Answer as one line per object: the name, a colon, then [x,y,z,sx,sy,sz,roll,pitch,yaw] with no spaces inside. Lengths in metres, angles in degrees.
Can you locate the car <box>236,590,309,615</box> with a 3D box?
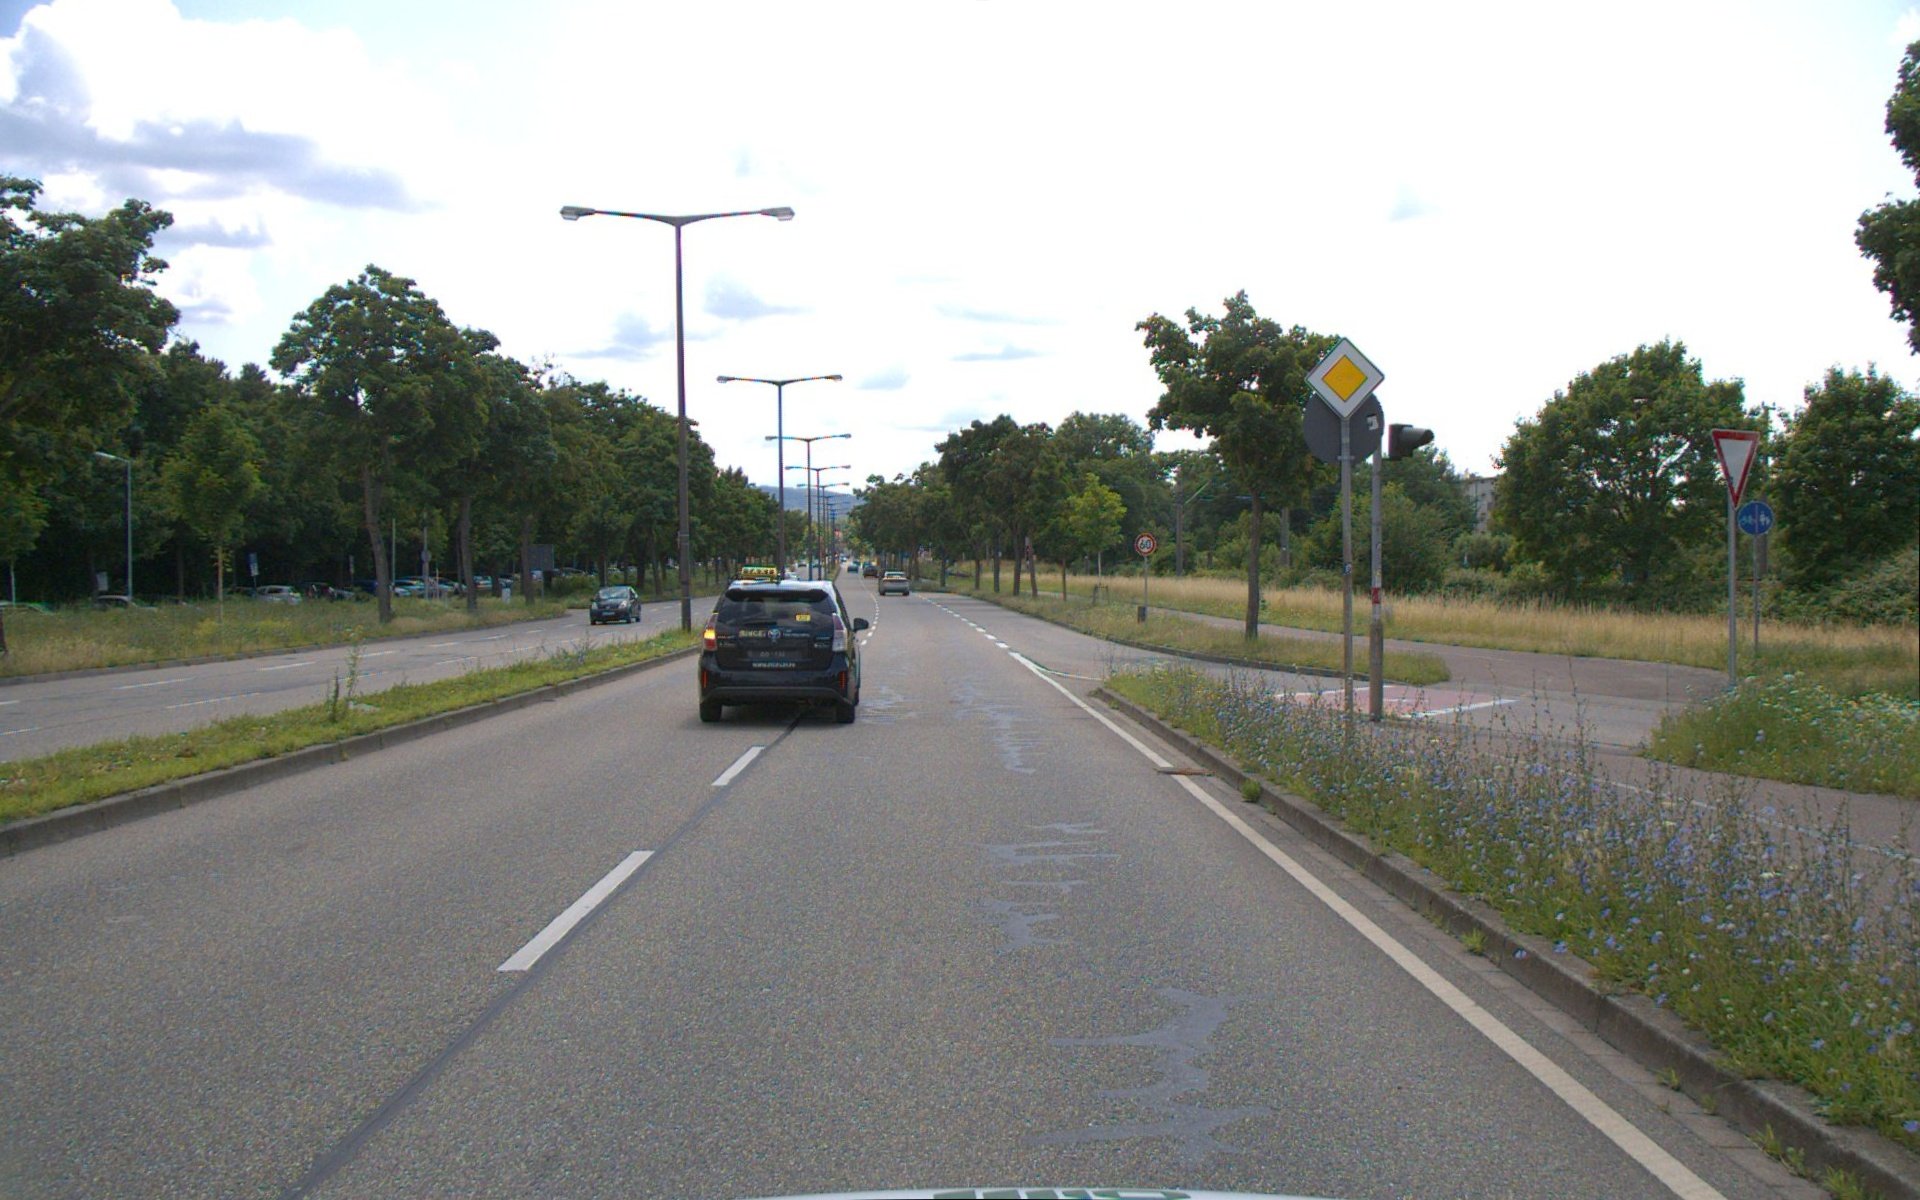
car: [-41.999,0.141,101.137,3.710,1.453,1.785,1,1,-3]

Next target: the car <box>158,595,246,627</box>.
car: [-39.219,0.574,85.583,3.708,1.534,1.785,1,1,-2]

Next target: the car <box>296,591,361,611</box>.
car: [-42.505,0.075,111.414,3.710,1.269,1.785,1,1,-3]

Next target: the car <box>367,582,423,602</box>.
car: [-43.604,-0.638,127.705,3.707,1.412,1.786,1,1,1]

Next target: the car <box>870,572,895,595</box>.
car: [-6.182,-1.342,132.734,1.953,1.690,3.999,1,2,-2]

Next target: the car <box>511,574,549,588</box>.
car: [-46.886,-2.036,180.348,3.707,1.412,1.786,1,1,1]

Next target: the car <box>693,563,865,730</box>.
car: [-2.021,0.447,19.465,1.744,1.713,3.999,1,2,-3]

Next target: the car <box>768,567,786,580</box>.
car: [-22.696,-3.334,205.403,1.841,1.534,3.798,1,2,0]

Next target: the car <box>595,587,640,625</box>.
car: [-13.560,0.235,65.570,1.671,1.452,3.665,-1,0,-11]

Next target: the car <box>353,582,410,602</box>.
car: [-43.539,-0.581,124.517,3.707,1.412,1.786,1,1,1]

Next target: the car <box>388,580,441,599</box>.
car: [-44.266,-0.834,134.273,3.707,1.412,1.786,1,1,1]

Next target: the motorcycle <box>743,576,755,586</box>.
motorcycle: [-17.282,-1.544,135.622,0.736,0.785,2.670,1,2,-3]

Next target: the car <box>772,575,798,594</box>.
car: [-13.971,-1.255,132.480,1.774,1.422,4.731,-1,2,-3]

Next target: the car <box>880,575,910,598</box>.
car: [-4.624,-0.947,117.628,1.954,1.534,3.997,1,2,-5]

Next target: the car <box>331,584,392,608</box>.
car: [-43.038,-0.310,118.950,3.707,1.595,1.786,1,1,1]

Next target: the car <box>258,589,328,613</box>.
car: [-41.986,0.070,104.189,3.710,1.410,1.785,1,1,-3]

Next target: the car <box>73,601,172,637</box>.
car: [-39.161,0.888,77.372,3.708,1.534,1.785,1,1,-2]
